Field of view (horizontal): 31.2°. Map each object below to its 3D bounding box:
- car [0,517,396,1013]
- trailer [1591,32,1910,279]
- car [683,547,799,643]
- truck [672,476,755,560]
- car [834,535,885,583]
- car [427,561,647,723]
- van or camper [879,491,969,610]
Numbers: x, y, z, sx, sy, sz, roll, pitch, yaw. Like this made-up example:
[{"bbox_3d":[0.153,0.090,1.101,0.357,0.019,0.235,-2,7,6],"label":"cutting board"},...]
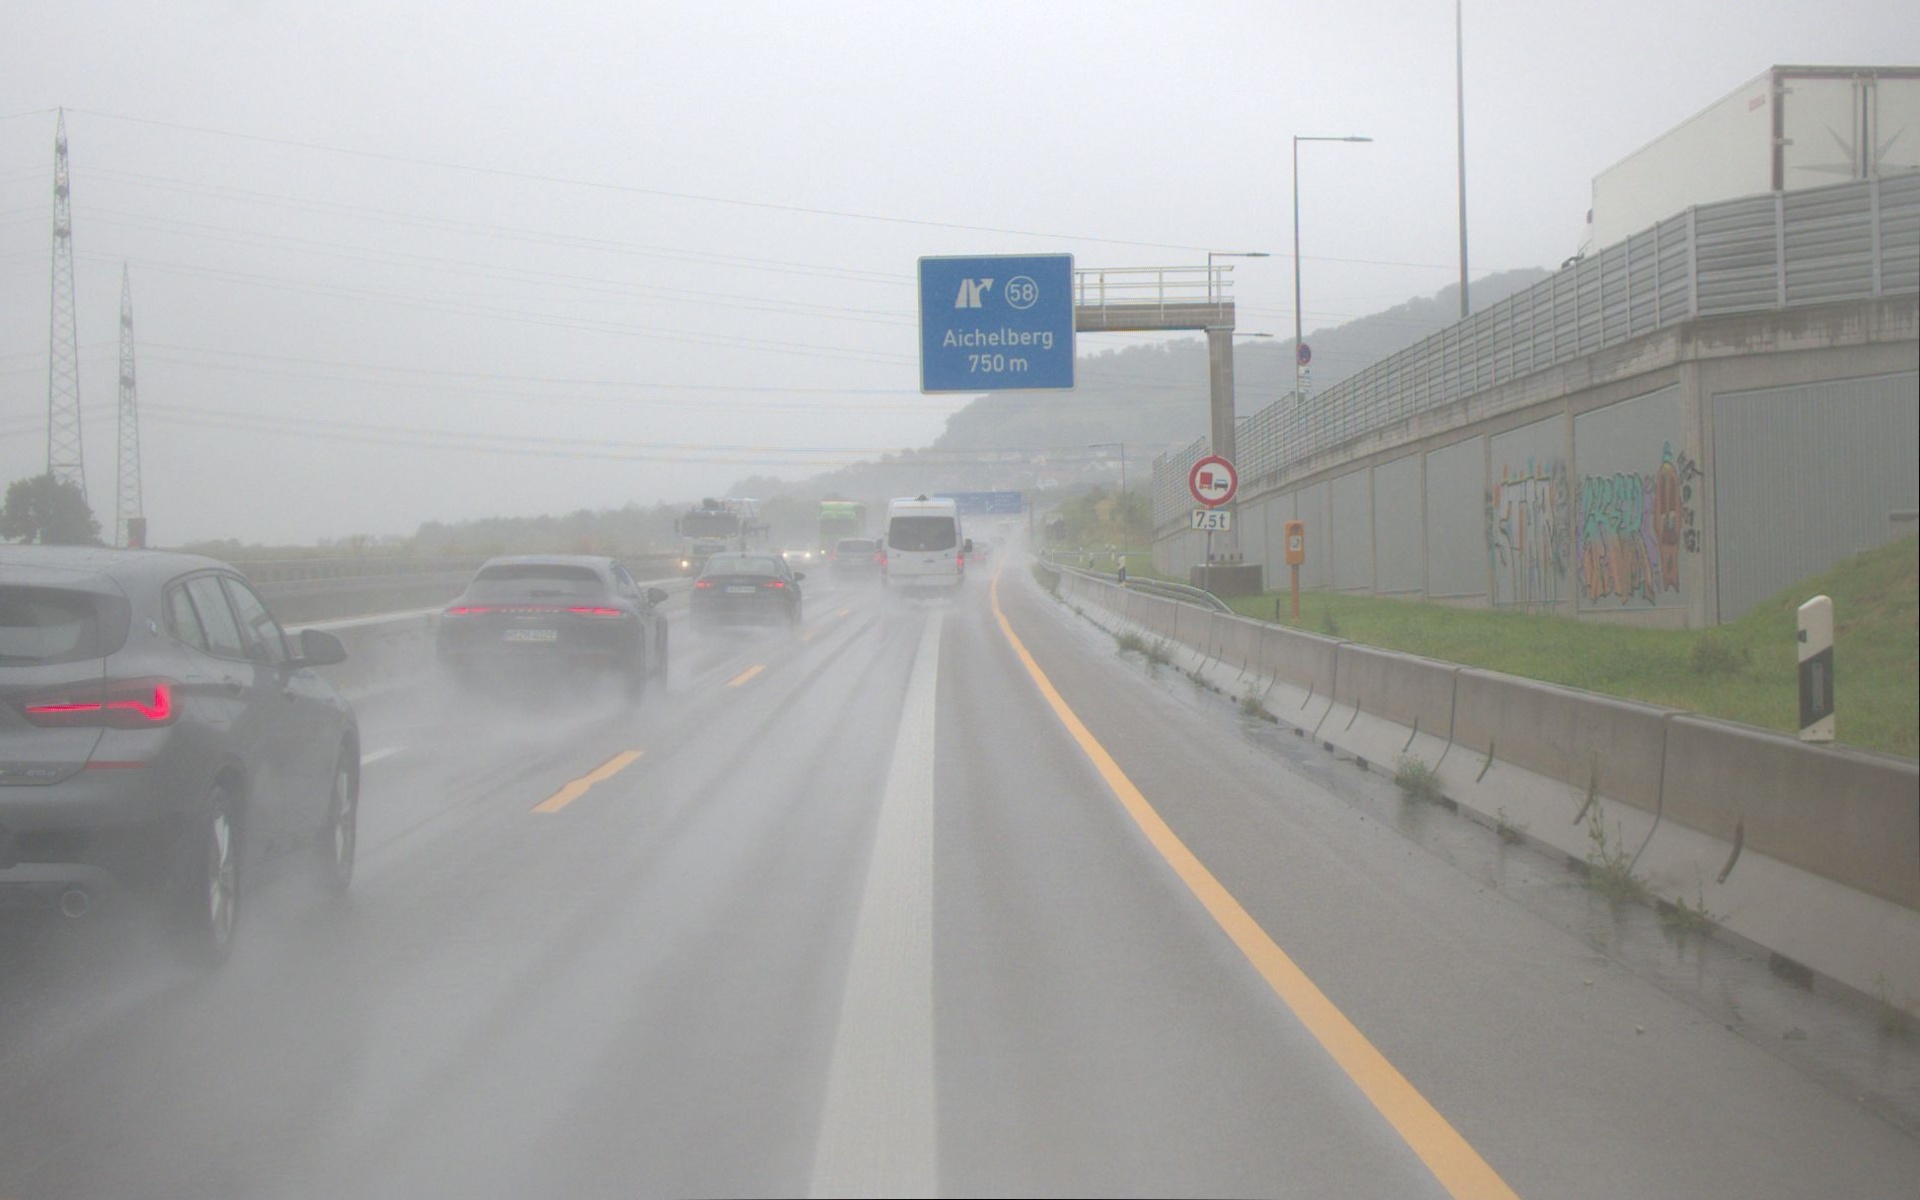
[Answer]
[{"bbox_3d":[-3.338,0.535,13.451,1.700,1.592,4.845,0,0,-3],"label":"car"},{"bbox_3d":[12.233,-6.808,54.562,1.993,2.099,13.768,0,0,0],"label":"trailer"},{"bbox_3d":[-3.744,-0.122,59.110,1.844,1.486,4.262,-3,1,-3],"label":"car"},{"bbox_3d":[-10.168,-3.393,142.679,2.639,3.336,9.553,0,1,0],"label":"truck"},{"bbox_3d":[-3.427,-1.385,116.965,1.566,1.475,2.822,-3,0,-4],"label":"car"},{"bbox_3d":[-4.093,0.395,33.844,1.844,1.486,4.262,0,0,-3],"label":"car"},{"bbox_3d":[-0.889,-1.161,82.360,1.996,2.768,4.050,0,0,-3],"label":"van or camper"}]
